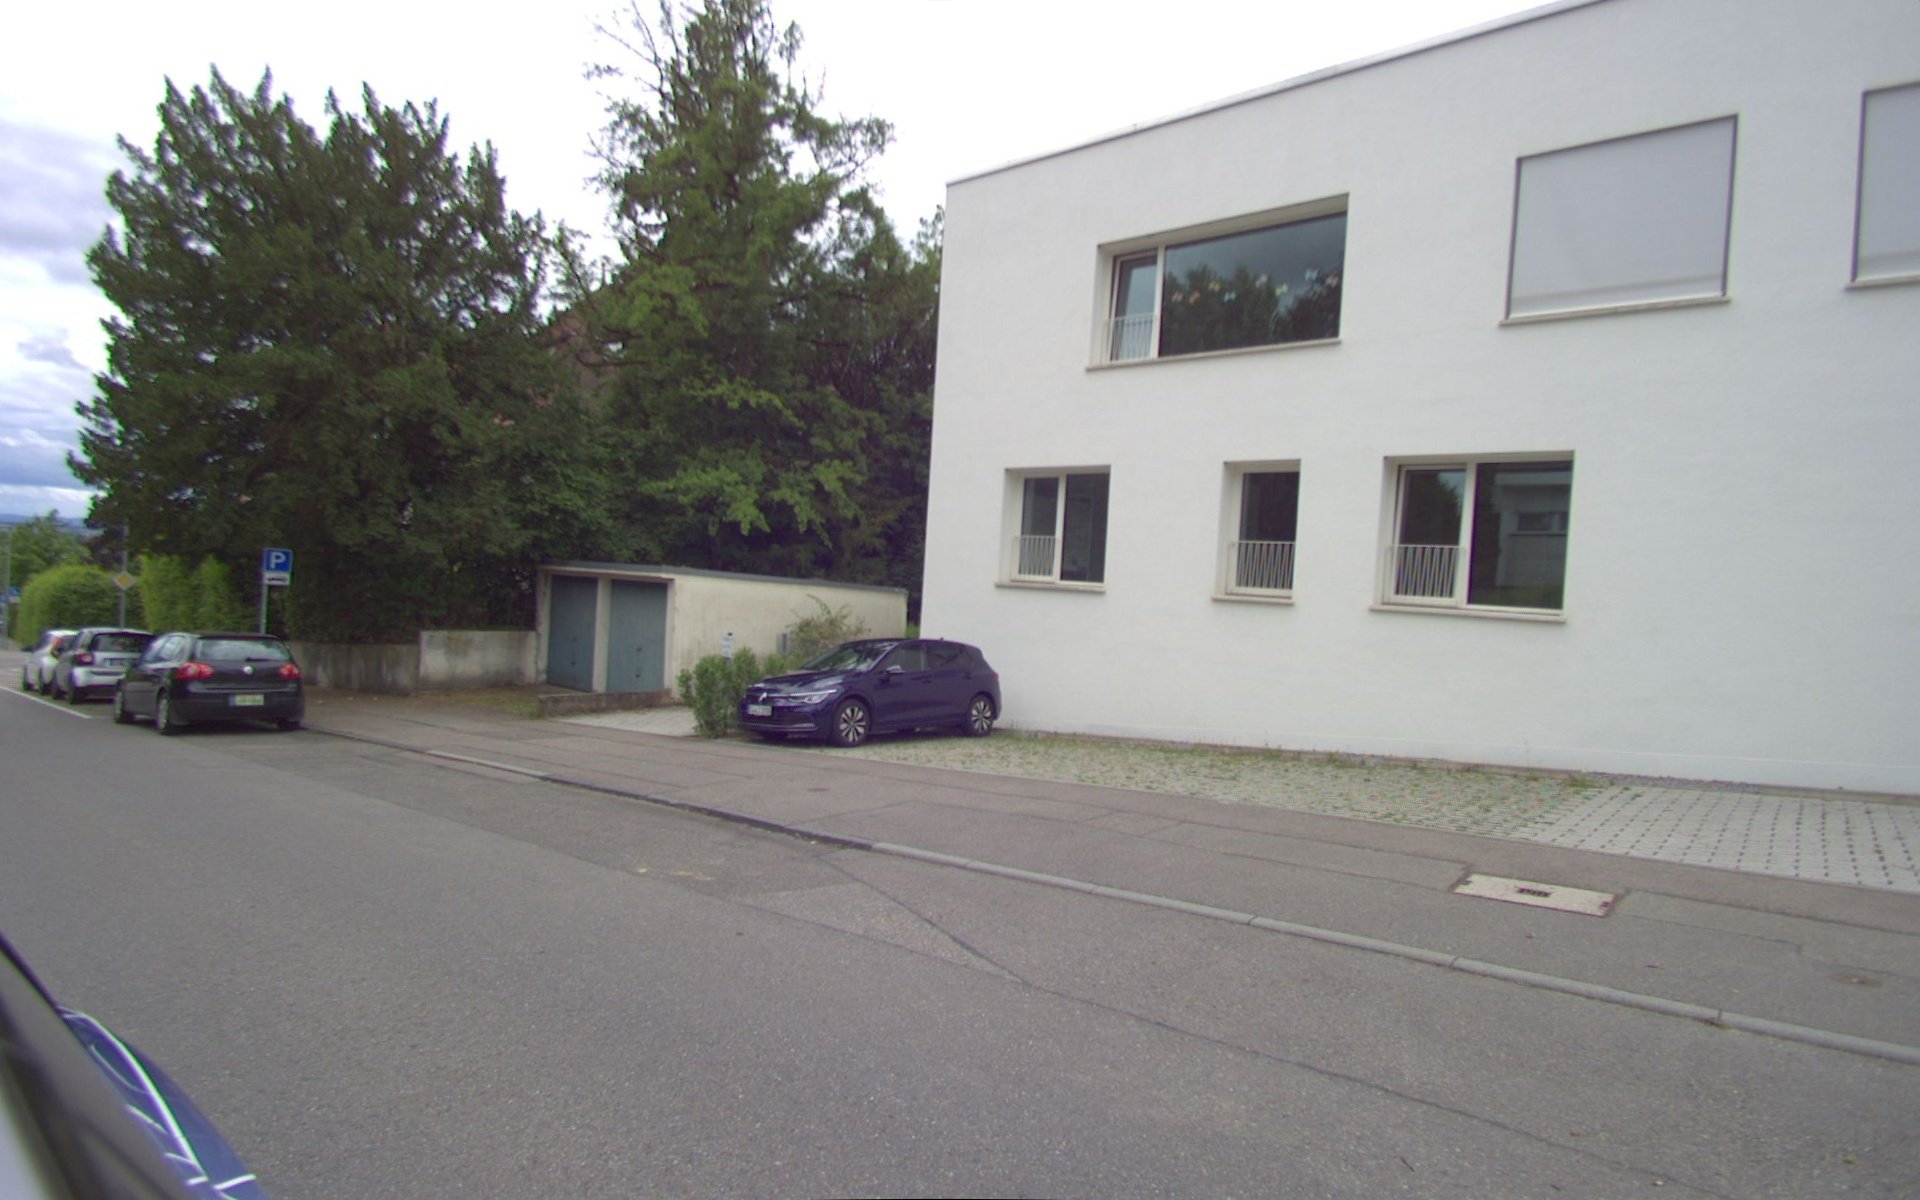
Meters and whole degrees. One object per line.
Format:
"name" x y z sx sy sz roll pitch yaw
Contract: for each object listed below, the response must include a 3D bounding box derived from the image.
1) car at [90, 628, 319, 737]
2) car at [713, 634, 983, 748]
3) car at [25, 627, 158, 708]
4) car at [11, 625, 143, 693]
"car" -12.079 1.206 16.063 4.678 1.481 1.832 -1 -3 40
"car" -1.439 1.162 14.255 1.738 1.364 3.761 -1 -2 35
"car" -18.103 1.342 21.074 2.973 1.530 1.607 -1 -2 40
"car" -20.895 1.373 23.913 3.510 1.459 1.727 -1 -6 40
